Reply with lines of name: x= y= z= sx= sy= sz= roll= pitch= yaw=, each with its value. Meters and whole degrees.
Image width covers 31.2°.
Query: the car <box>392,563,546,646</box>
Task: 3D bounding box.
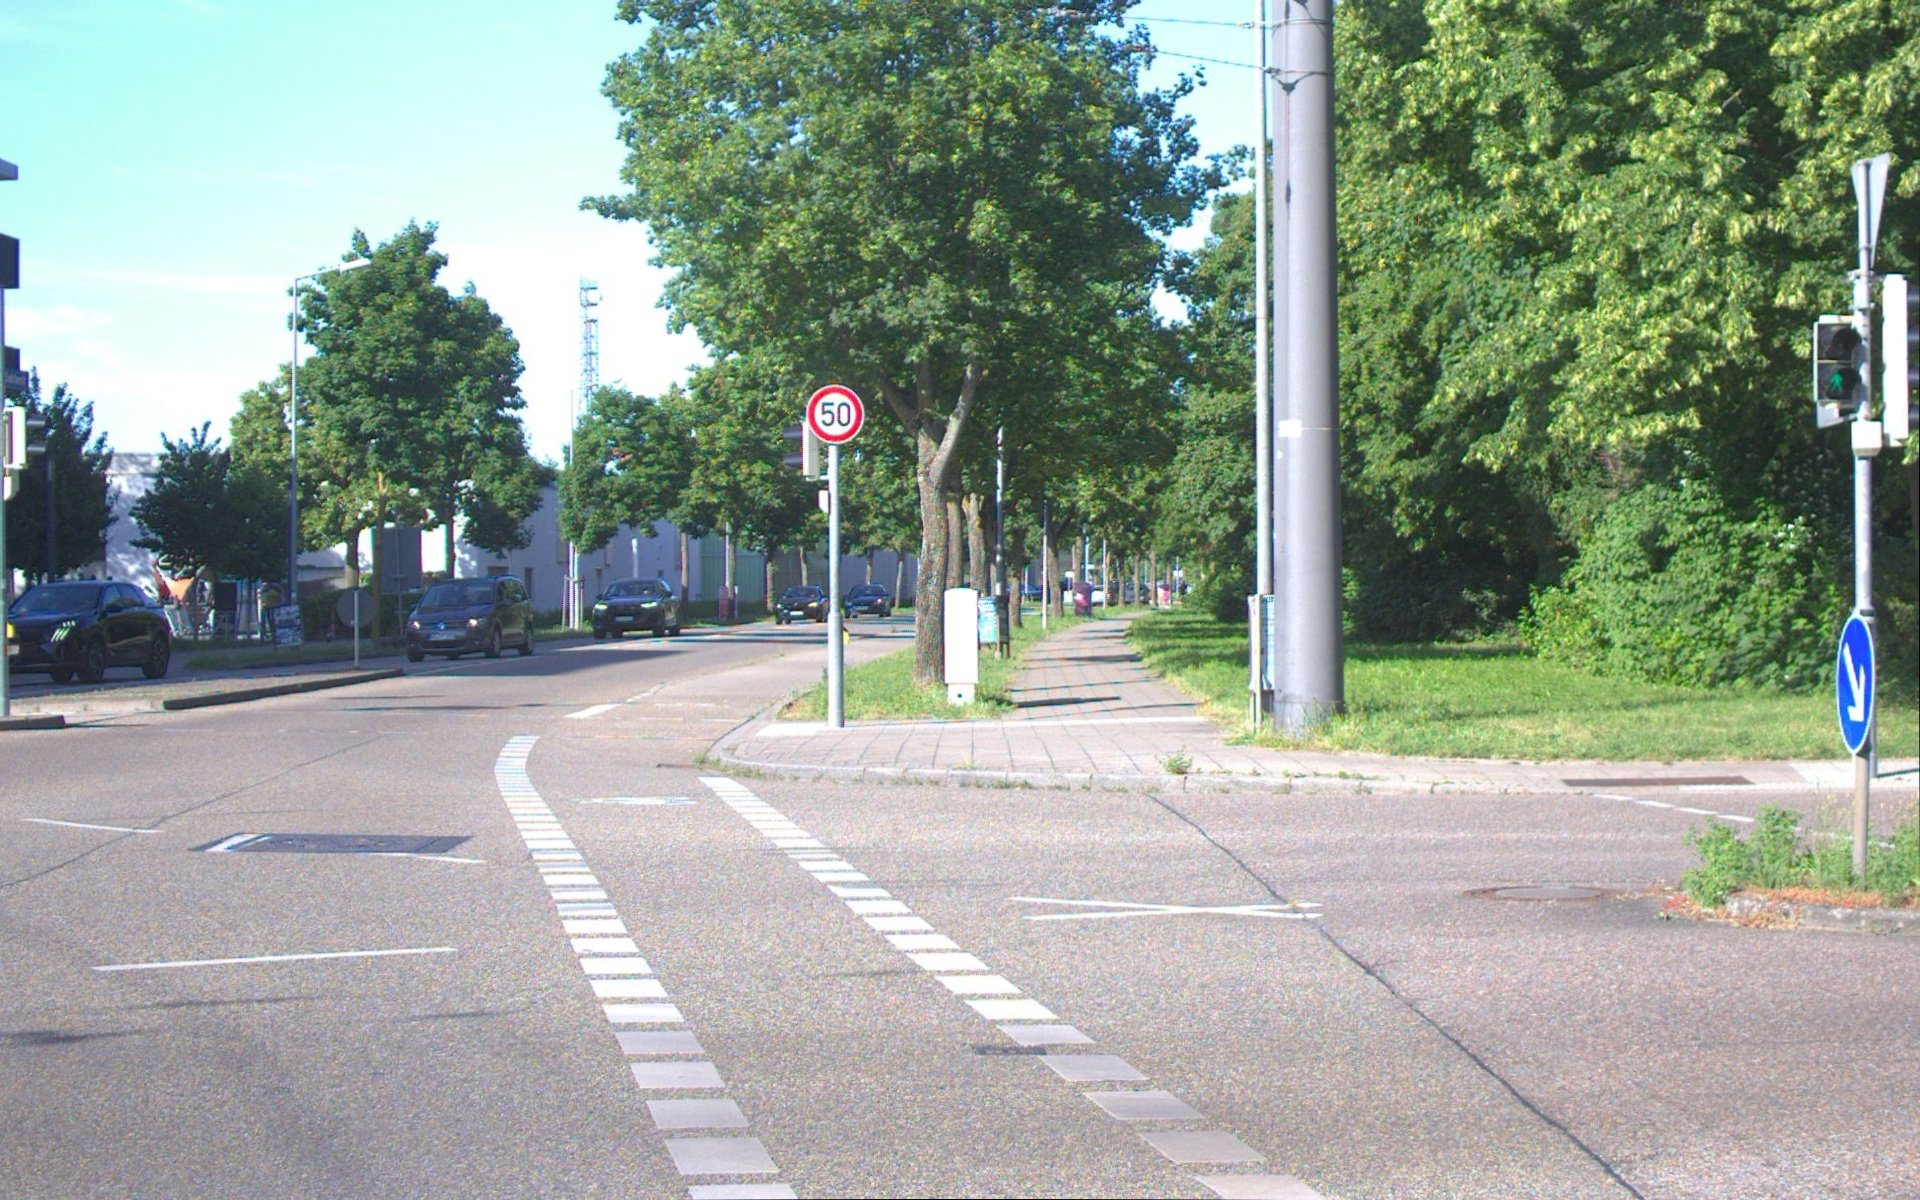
car: x=-9.660 y=0.080 z=67.946 sx=1.994 sy=1.566 sz=3.999 roll=-1 pitch=0 yaw=7

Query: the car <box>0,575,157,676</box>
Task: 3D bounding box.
car: x=-14.436 y=0.381 z=54.937 sx=1.967 sy=1.529 sz=4.740 roll=-1 pitch=0 yaw=1

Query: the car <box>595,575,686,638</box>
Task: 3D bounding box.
car: x=-9.099 y=0.161 z=98.299 sx=1.993 sy=1.731 sz=5.199 roll=-1 pitch=0 yaw=1

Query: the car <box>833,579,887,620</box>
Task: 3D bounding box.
car: x=-4.367 y=-0.021 z=150.510 sx=1.895 sy=1.752 sz=3.999 roll=2 pitch=0 yaw=5
